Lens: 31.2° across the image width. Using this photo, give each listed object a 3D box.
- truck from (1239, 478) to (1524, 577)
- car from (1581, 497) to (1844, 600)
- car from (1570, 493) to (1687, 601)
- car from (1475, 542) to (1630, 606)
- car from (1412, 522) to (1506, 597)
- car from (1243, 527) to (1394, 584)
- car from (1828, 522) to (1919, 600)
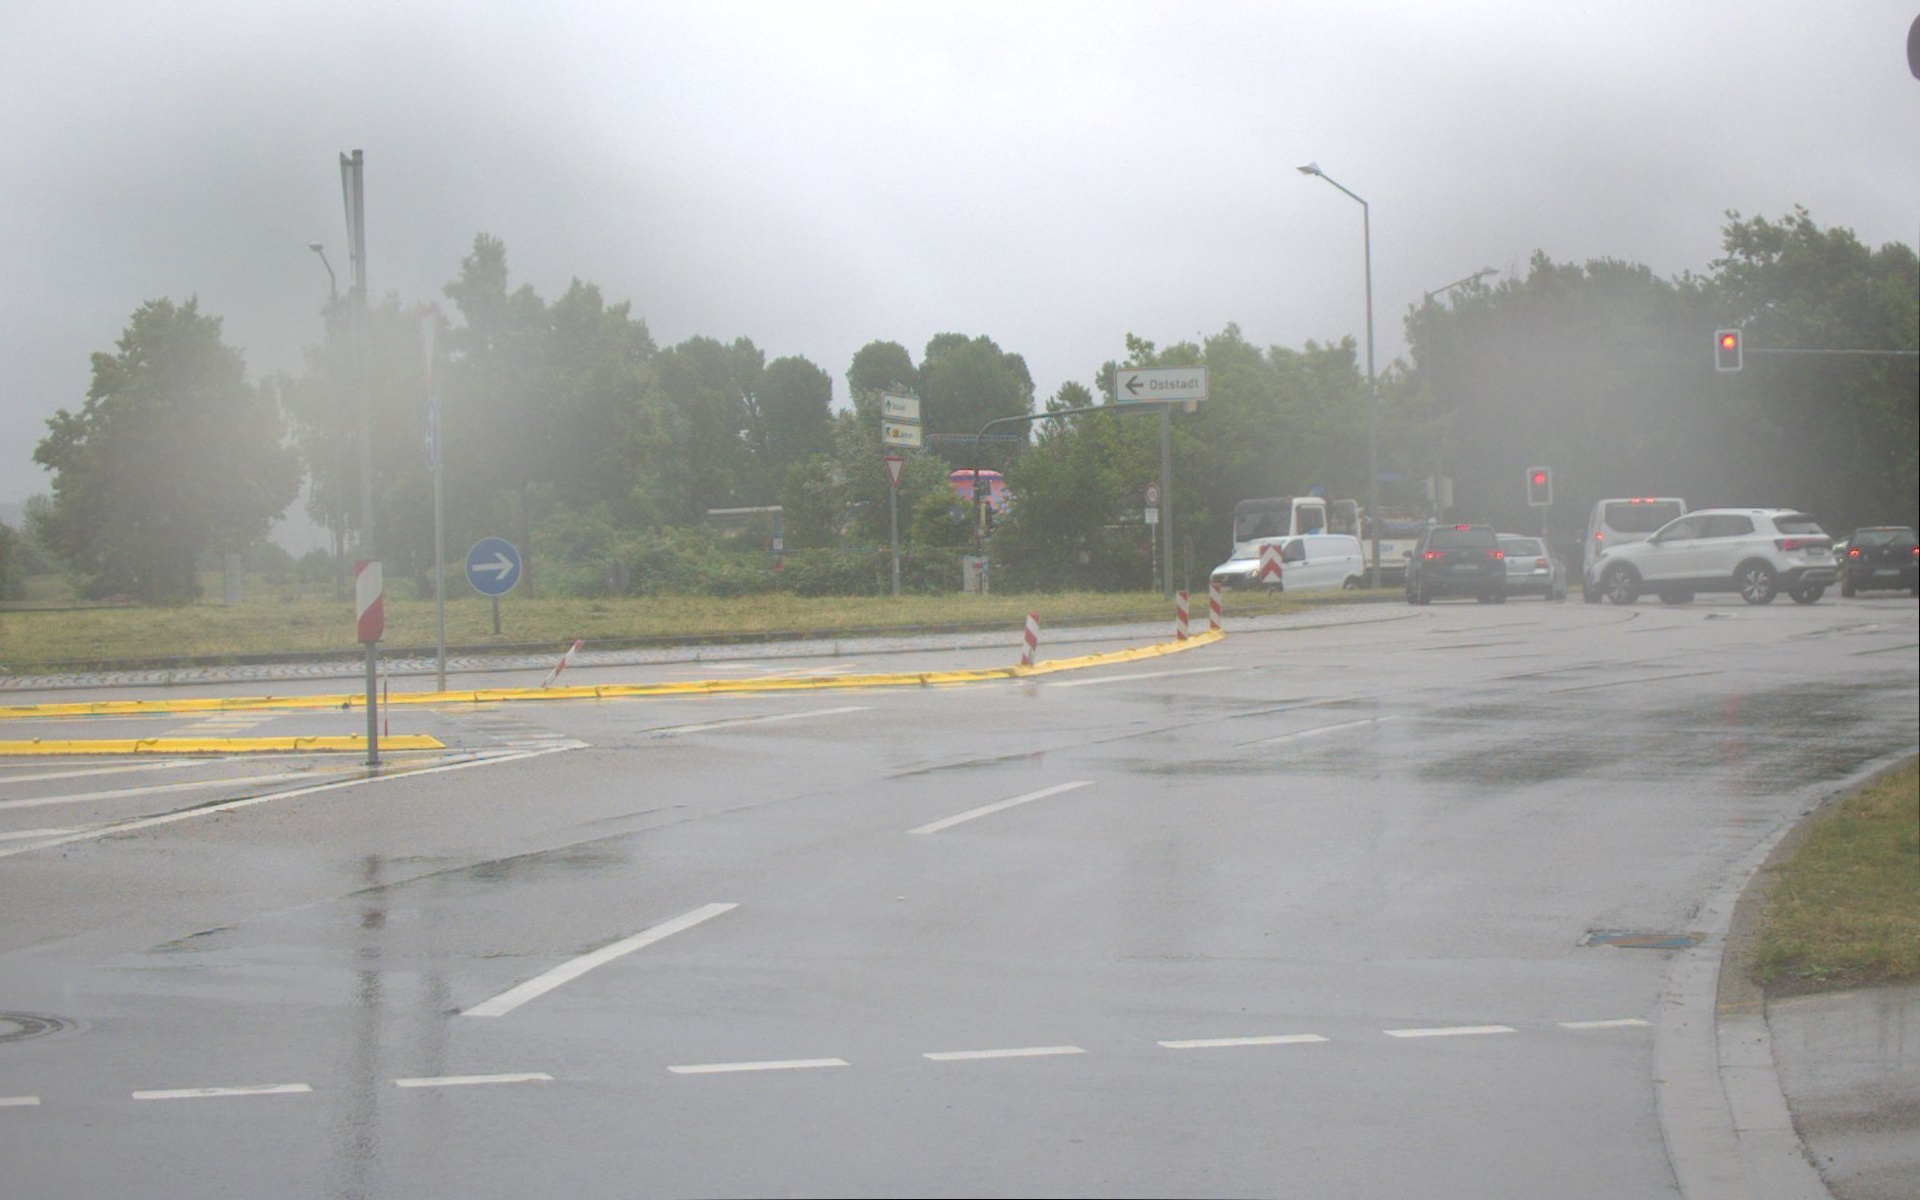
[{"bbox_3d":[12.296,-2.080,99.783,8.768,2.702,2.000,0,1,-30],"label":"truck"},{"bbox_3d":[12.515,-0.861,57.269,3.944,1.642,1.682,1,1,41],"label":"car"},{"bbox_3d":[12.973,-1.023,66.911,1.783,2.029,3.999,1,1,5],"label":"car"},{"bbox_3d":[13.057,-0.573,75.776,3.122,1.367,1.391,1,1,-26],"label":"car"},{"bbox_3d":[10.219,-0.826,70.584,1.689,1.487,3.250,1,1,5],"label":"car"},{"bbox_3d":[9.812,-1.215,93.850,1.610,1.487,4.537,1,1,45],"label":"car"},{"bbox_3d":[18.246,-0.791,68.265,1.689,1.487,3.250,-1,1,10],"label":"car"}]
